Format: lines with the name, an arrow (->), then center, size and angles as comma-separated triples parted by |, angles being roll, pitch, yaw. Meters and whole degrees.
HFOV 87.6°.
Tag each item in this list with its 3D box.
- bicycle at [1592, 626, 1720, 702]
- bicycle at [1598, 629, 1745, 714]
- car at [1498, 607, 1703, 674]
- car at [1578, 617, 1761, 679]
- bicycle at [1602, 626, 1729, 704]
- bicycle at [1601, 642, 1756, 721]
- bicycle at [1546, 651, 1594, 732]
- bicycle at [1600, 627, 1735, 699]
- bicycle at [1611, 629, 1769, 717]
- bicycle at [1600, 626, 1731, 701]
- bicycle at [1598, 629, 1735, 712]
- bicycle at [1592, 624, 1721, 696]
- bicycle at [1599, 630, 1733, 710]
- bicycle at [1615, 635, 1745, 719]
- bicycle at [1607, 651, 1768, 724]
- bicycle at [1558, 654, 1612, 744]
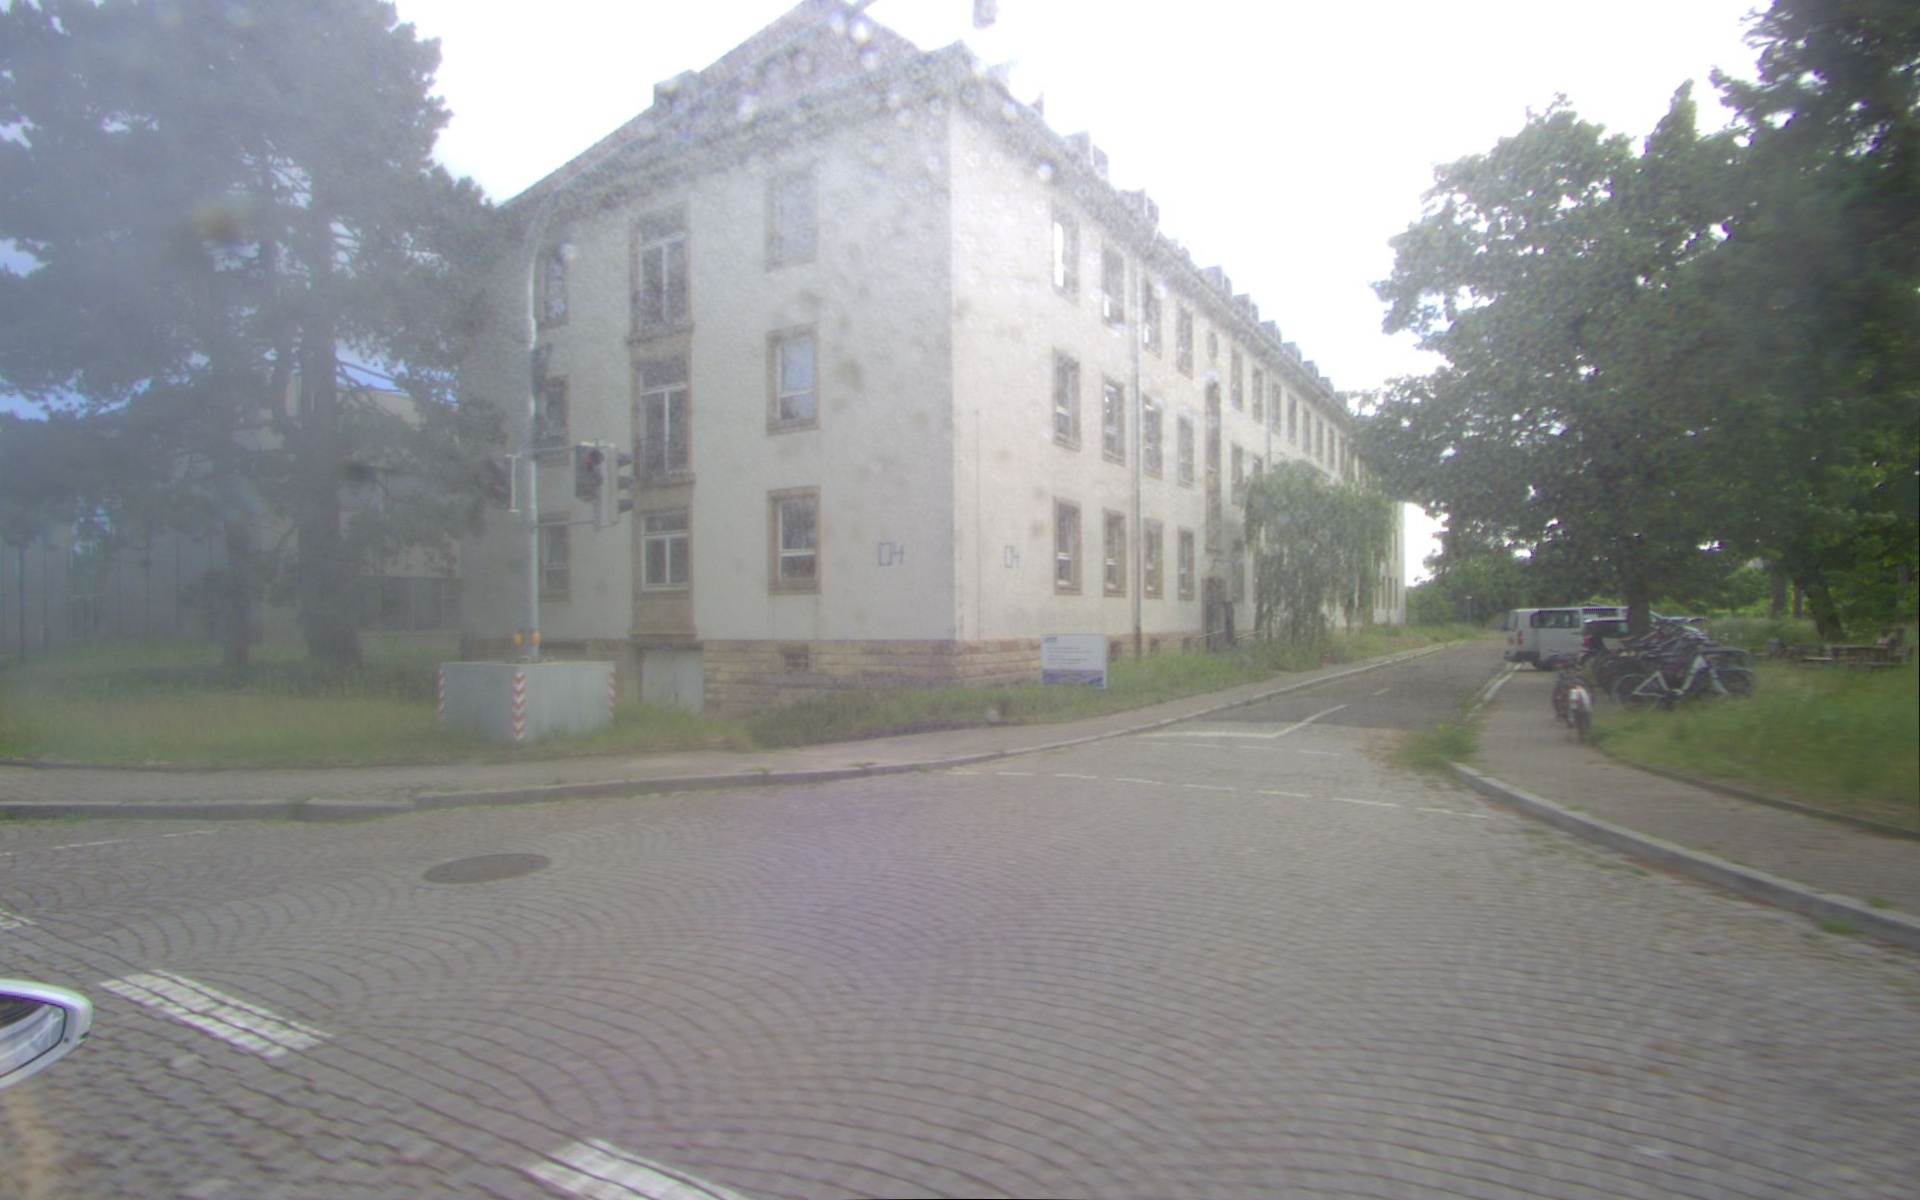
bicycle -> 12.849, 1.150, 18.530 | 1.913, 1.337, 0.551 | -1, -1, 37
bicycle -> 11.780, 1.156, 16.632 | 1.950, 1.337, 0.574 | -1, -1, 37
car -> 19.267, 1.198, 30.395 | 4.774, 1.935, 2.237 | 0, -1, 16
car -> 18.826, 1.244, 26.784 | 3.877, 1.550, 1.852 | -1, -1, 33
bicycle -> 12.620, 1.130, 17.956 | 1.829, 1.337, 0.553 | -1, -1, 37
bicycle -> 10.895, 1.206, 15.238 | 1.877, 1.115, 0.539 | -1, -1, 37
bicycle -> 8.569, 1.252, 14.095 | 0.535, 1.027, 1.534 | 0, -1, 30
bicycle -> 13.641, 1.187, 19.369 | 2.104, 1.337, 0.553 | -1, -1, 37
bicycle -> 11.648, 1.133, 16.045 | 2.021, 1.337, 0.436 | -1, -1, 37
bicycle -> 13.292, 1.169, 18.918 | 1.989, 1.337, 0.538 | -1, -1, 37
bicycle -> 12.065, 1.178, 17.147 | 1.895, 1.337, 0.504 | -1, -1, 37
bicycle -> 13.907, 1.168, 20.039 | 2.075, 1.385, 0.755 | -1, -1, 37
bicycle -> 12.322, 1.191, 17.517 | 1.893, 1.337, 0.390 | -1, -1, 37
bicycle -> 11.254, 1.180, 15.695 | 1.618, 1.231, 0.539 | -1, -1, 37
bicycle -> 10.601, 1.254, 14.652 | 1.877, 0.961, 0.539 | -1, -1, 37
bicycle -> 7.790, 1.197, 12.521 | 0.522, 0.992, 1.618 | 0, -1, 30
